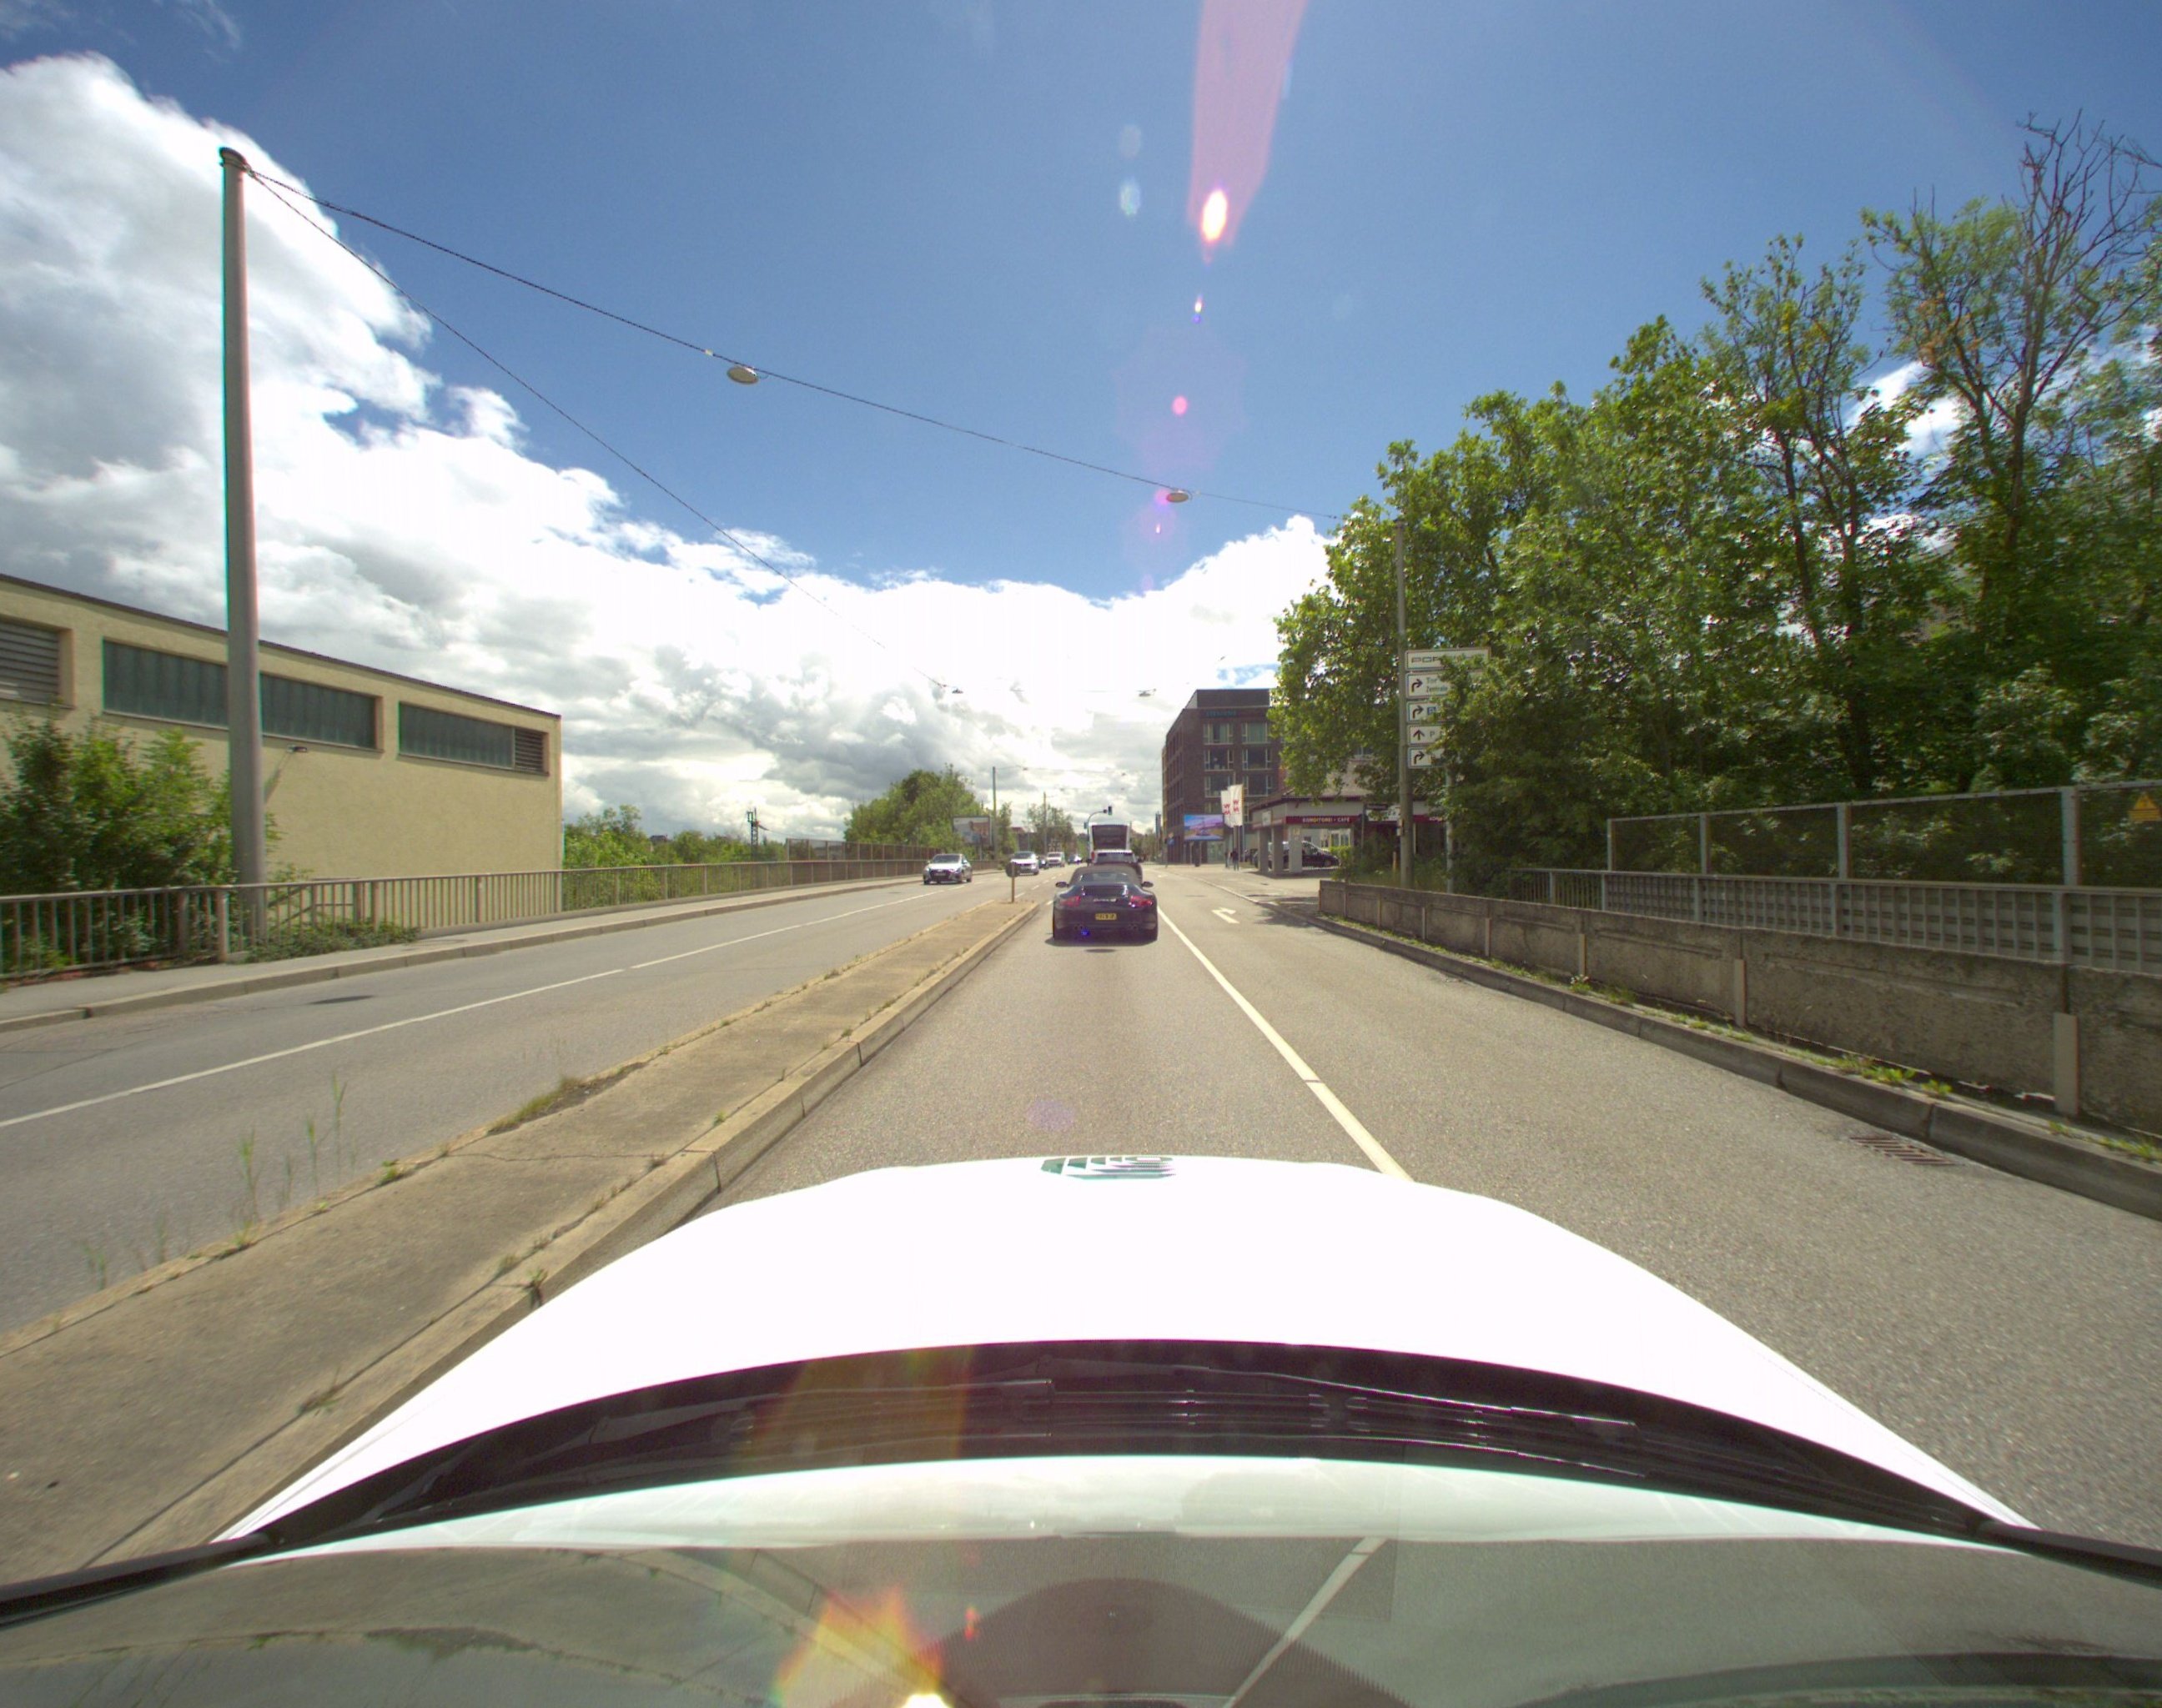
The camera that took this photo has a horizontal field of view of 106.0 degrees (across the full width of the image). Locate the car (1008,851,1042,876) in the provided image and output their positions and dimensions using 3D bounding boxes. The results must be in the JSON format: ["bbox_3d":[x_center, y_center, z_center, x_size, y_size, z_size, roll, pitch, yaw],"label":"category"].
[{"bbox_3d":[-3.613,0.606,53.066,1.803,1.560,4.208,0,0,1],"label":"car"}]

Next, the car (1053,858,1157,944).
[{"bbox_3d":[0.429,0.790,15.493,1.714,1.275,4.089,0,2,1],"label":"car"}]

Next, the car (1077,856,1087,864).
[{"bbox_3d":[0.259,1.142,150.554,1.656,1.547,3.805,-1,0,2],"label":"car"}]

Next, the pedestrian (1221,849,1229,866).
[{"bbox_3d":[13.577,0.322,76.808,0.668,1.661,0.742,-1,-1,0],"label":"pedestrian"}]

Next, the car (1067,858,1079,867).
[{"bbox_3d":[-1.258,1.418,131.144,1.656,1.416,3.805,-1,0,2],"label":"car"}]

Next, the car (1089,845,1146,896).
[{"bbox_3d":[1.235,0.524,29.009,1.873,1.594,4.231,1,2,1],"label":"car"}]

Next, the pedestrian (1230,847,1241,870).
[{"bbox_3d":[11.484,0.369,60.498,0.673,1.696,0.602,-1,-1,27],"label":"pedestrian"}]

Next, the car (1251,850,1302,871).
[{"bbox_3d":[15.906,0.523,66.493,3.744,1.440,1.720,-4,-1,2],"label":"car"}]

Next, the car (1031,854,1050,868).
[{"bbox_3d":[-4.109,0.695,83.559,1.622,1.430,4.002,-1,0,2],"label":"car"}]

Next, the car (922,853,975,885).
[{"bbox_3d":[-6.173,0.669,38.363,1.630,1.363,4.196,-1,0,2],"label":"car"}]

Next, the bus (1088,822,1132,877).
[{"bbox_3d":[2.104,-0.499,56.561,2.678,3.254,12.070,1,3,3],"label":"bus"}]

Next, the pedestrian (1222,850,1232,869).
[{"bbox_3d":[12.966,0.504,72.159,0.705,1.696,0.924,-1,0,-1],"label":"pedestrian"}]

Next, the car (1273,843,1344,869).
[{"bbox_3d":[15.485,0.177,55.614,4.283,1.513,1.847,-3,-1,2],"label":"car"}]

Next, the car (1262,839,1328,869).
[{"bbox_3d":[15.391,0.012,58.701,4.213,1.936,2.031,-3,-1,3],"label":"car"}]

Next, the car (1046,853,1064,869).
[{"bbox_3d":[-3.227,0.864,102.847,1.894,1.887,5.315,-3,-1,2],"label":"car"}]

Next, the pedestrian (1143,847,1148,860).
[{"bbox_3d":[9.744,-0.038,123.679,0.664,2.014,0.769,-1,-1,0],"label":"pedestrian"}]
